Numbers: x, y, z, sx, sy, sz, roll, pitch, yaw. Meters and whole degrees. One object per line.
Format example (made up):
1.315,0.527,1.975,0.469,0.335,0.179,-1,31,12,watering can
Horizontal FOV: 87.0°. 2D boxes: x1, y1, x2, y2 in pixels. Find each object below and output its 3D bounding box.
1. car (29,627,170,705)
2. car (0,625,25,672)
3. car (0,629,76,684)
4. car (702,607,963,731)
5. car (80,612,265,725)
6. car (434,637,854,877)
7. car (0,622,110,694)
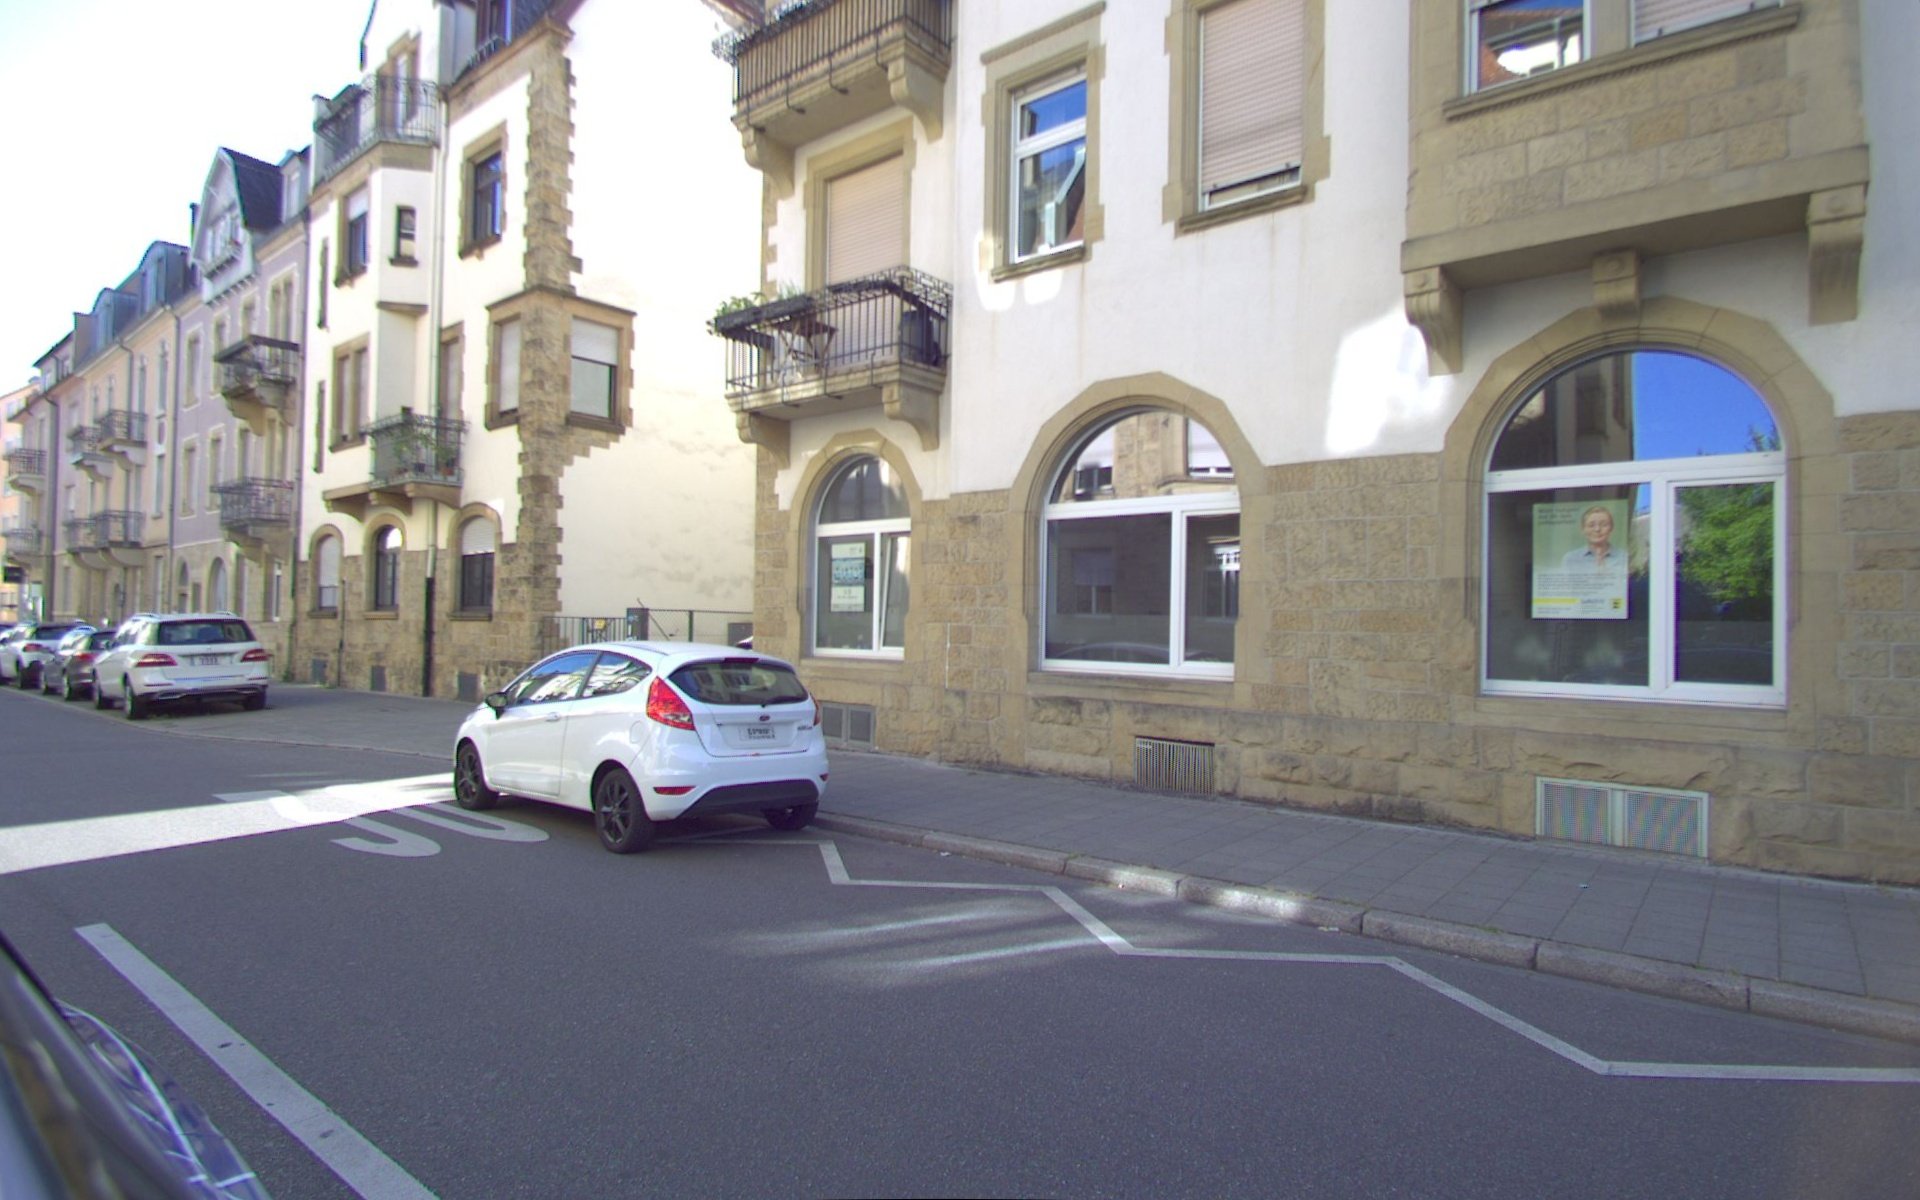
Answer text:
-18.546,1.353,21.761,4.275,1.498,1.558,-1,-1,39,car
-33.059,1.632,34.127,3.719,1.550,1.698,-1,-2,38,car
-26.867,1.580,28.864,3.658,1.404,1.658,-1,0,36,car
-1.936,1.063,16.325,1.908,1.741,3.928,-2,-3,40,car
-14.174,1.131,18.097,4.725,1.735,1.871,-2,-1,43,car
-2.712,1.057,8.262,3.734,1.475,1.616,-1,-2,43,car
-22.859,1.386,25.276,4.015,1.595,1.698,-1,0,38,car
